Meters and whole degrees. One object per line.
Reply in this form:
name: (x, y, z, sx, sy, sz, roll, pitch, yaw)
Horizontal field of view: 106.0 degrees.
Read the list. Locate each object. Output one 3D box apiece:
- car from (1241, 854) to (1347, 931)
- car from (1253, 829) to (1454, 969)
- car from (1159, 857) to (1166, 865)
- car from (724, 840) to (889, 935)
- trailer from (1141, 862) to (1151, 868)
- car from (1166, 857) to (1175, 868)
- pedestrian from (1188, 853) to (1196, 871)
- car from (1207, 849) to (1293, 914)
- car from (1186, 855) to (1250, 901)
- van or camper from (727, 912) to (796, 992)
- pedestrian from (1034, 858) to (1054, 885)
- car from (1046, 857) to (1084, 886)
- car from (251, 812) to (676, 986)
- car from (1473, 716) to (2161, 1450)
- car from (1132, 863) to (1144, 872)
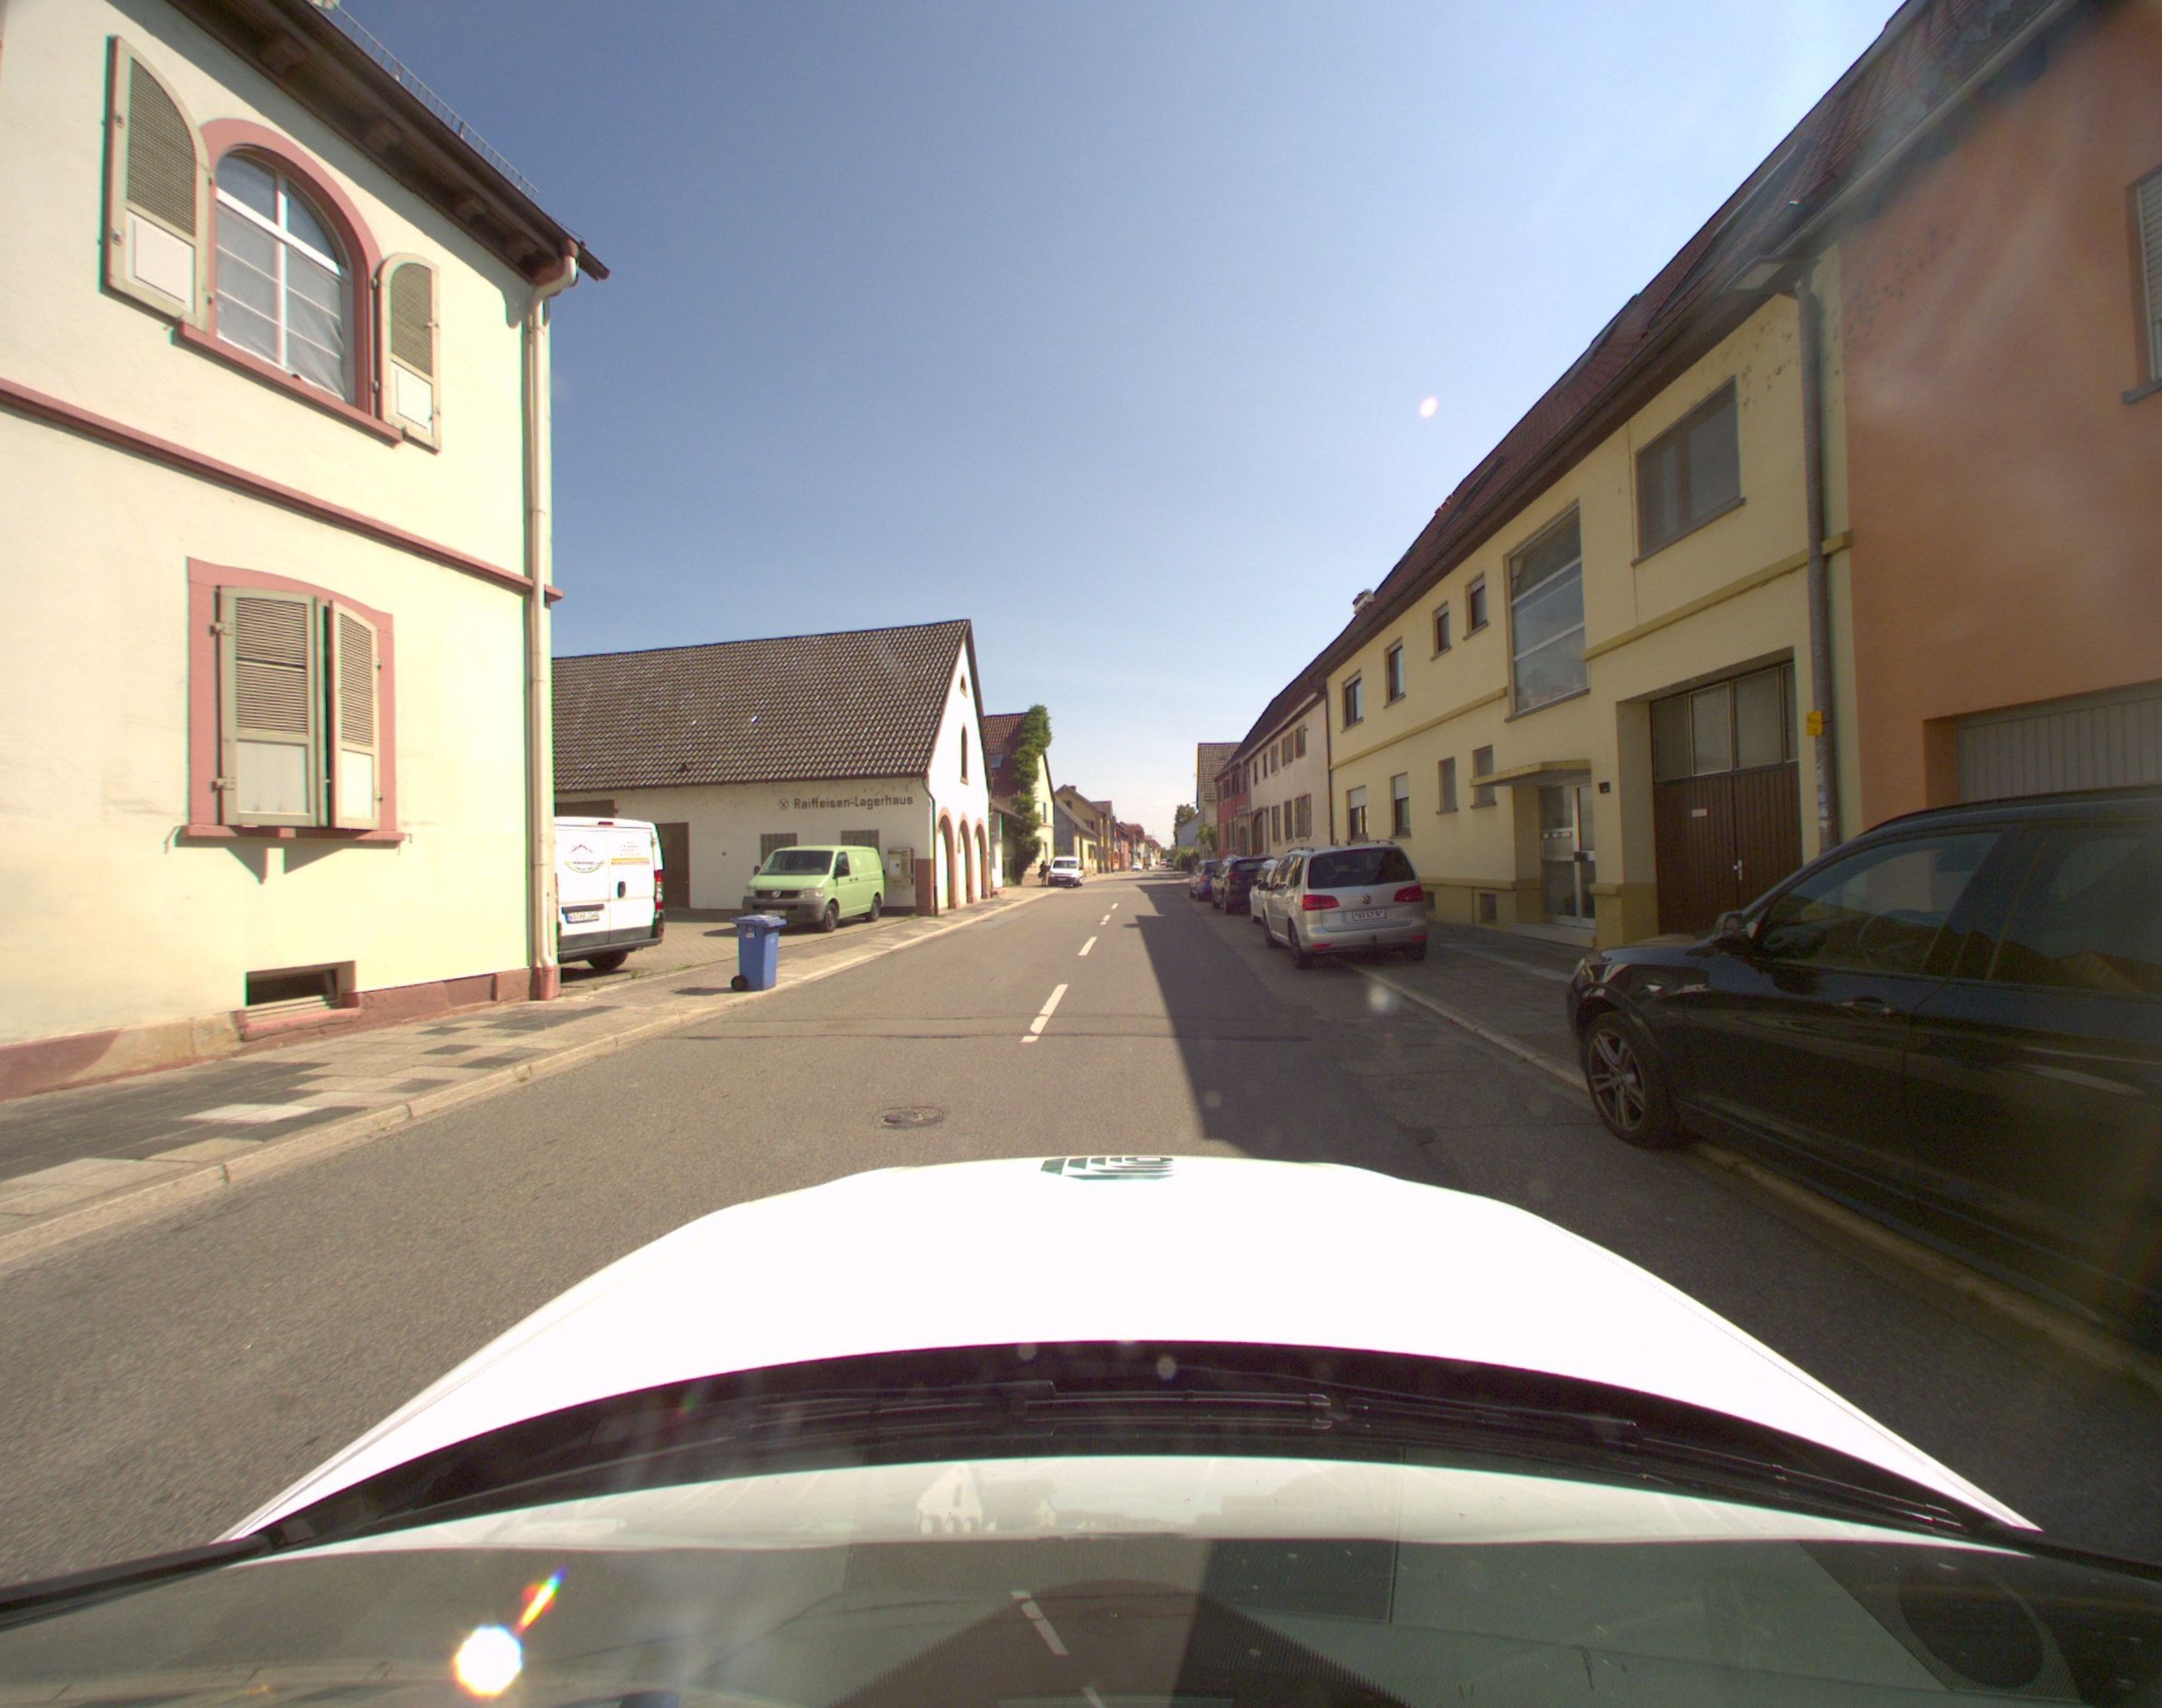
car: (4.529, 0.774, 17.780, 1.544, 1.438, 3.725, -3, -1, 4)
car: (3.864, 0.589, 12.370, 1.890, 1.728, 4.253, -1, -1, 4)
car: (25.201, 2.126, 251.220, 2.148, 2.080, 4.004, -2, -2, 4)
car: (-6.349, 0.730, 19.531, 1.984, 1.964, 4.676, -1, -1, 5)
trailer: (12.667, 2.207, 159.333, 1.984, 1.090, 4.005, -1, 0, 4)
car: (22.091, 2.136, 200.441, 2.008, 2.568, 4.005, -2, -1, 5)
pedestrian: (10.066, 0.738, 73.722, 0.714, 1.664, 0.894, -1, -1, 9)
car: (4.646, 0.722, 22.850, 1.692, 1.584, 4.030, -3, -1, 3)
car: (4.894, 0.820, 29.581, 1.692, 1.469, 4.412, -3, -1, 2)
van or camper: (-4.080, 1.235, 10.432, 0.586, 0.951, 0.602, -1, -1, 9)
pedestrian: (-2.221, 1.056, 49.027, 1.132, 1.552, 1.017, -1, -1, 2)
car: (-0.908, 1.015, 48.542, 1.847, 1.647, 4.433, -1, -1, 3)
car: (-8.897, 0.606, 11.876, 5.139, 2.197, 2.130, -1, 0, 14)
car: (3.505, 0.510, 3.093, 1.836, 1.702, 5.187, -2, -1, 5)
car: (9.949, 2.330, 142.708, 1.984, 1.442, 4.006, -2, -1, 5)
